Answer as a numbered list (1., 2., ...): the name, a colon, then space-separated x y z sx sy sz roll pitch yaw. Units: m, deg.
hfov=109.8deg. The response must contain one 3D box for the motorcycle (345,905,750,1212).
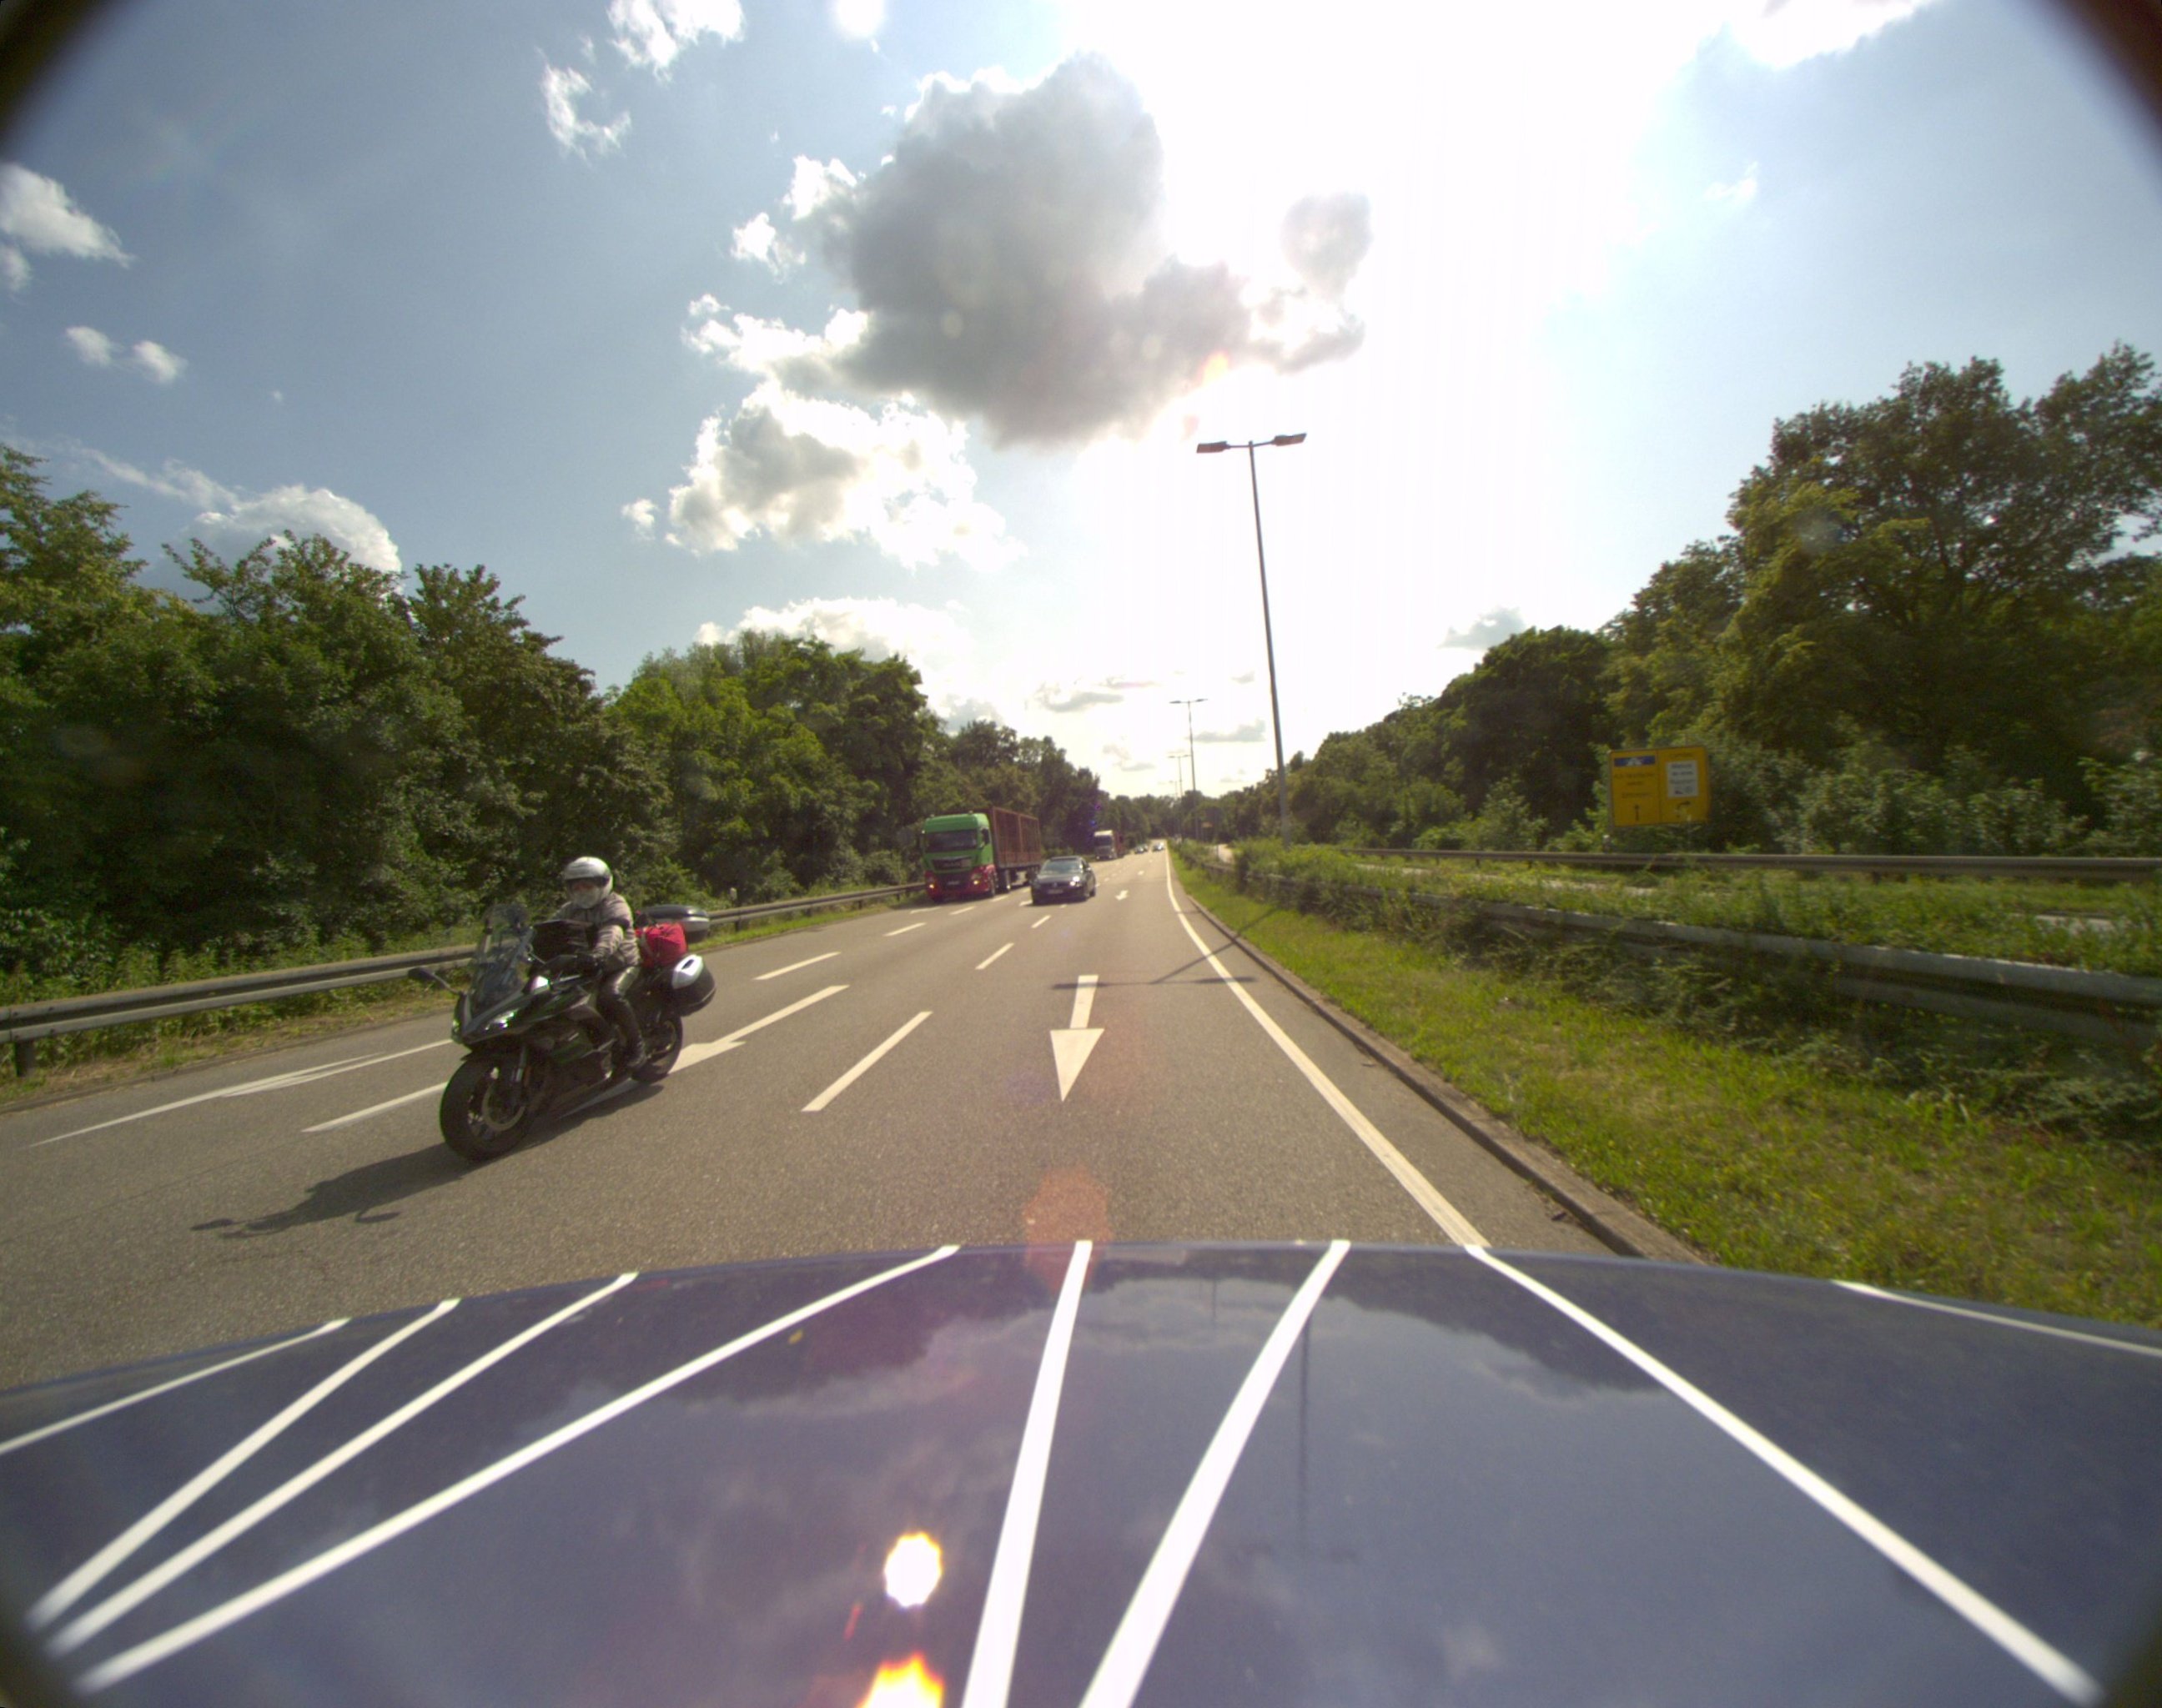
1. motorcycle: -3.229 1.123 5.041 0.867 1.381 2.370 -3 0 3

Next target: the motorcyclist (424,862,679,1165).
1. motorcyclist: -3.251 0.917 4.770 0.867 1.690 0.894 -3 0 3

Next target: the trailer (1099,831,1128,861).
1. trailer: 4.929 -1.227 112.335 2.693 3.948 12.399 -5 0 9

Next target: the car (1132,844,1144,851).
1. car: 11.053 -1.241 147.530 1.997 1.330 4.002 -3 0 8

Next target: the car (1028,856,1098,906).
1. car: -0.529 0.856 25.819 1.735 1.468 4.048 -3 0 7

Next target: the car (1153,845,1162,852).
1. car: 15.997 -1.114 158.642 1.796 1.368 4.002 -3 0 7

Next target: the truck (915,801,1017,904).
1. truck: -4.789 -0.065 32.953 2.590 3.871 6.064 -5 0 6

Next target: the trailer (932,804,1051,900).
1. trailer: -4.101 -0.136 39.428 2.590 3.871 14.507 -5 0 6

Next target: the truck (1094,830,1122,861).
1. truck: 3.856 -1.140 104.911 2.689 3.948 7.387 -5 0 9
